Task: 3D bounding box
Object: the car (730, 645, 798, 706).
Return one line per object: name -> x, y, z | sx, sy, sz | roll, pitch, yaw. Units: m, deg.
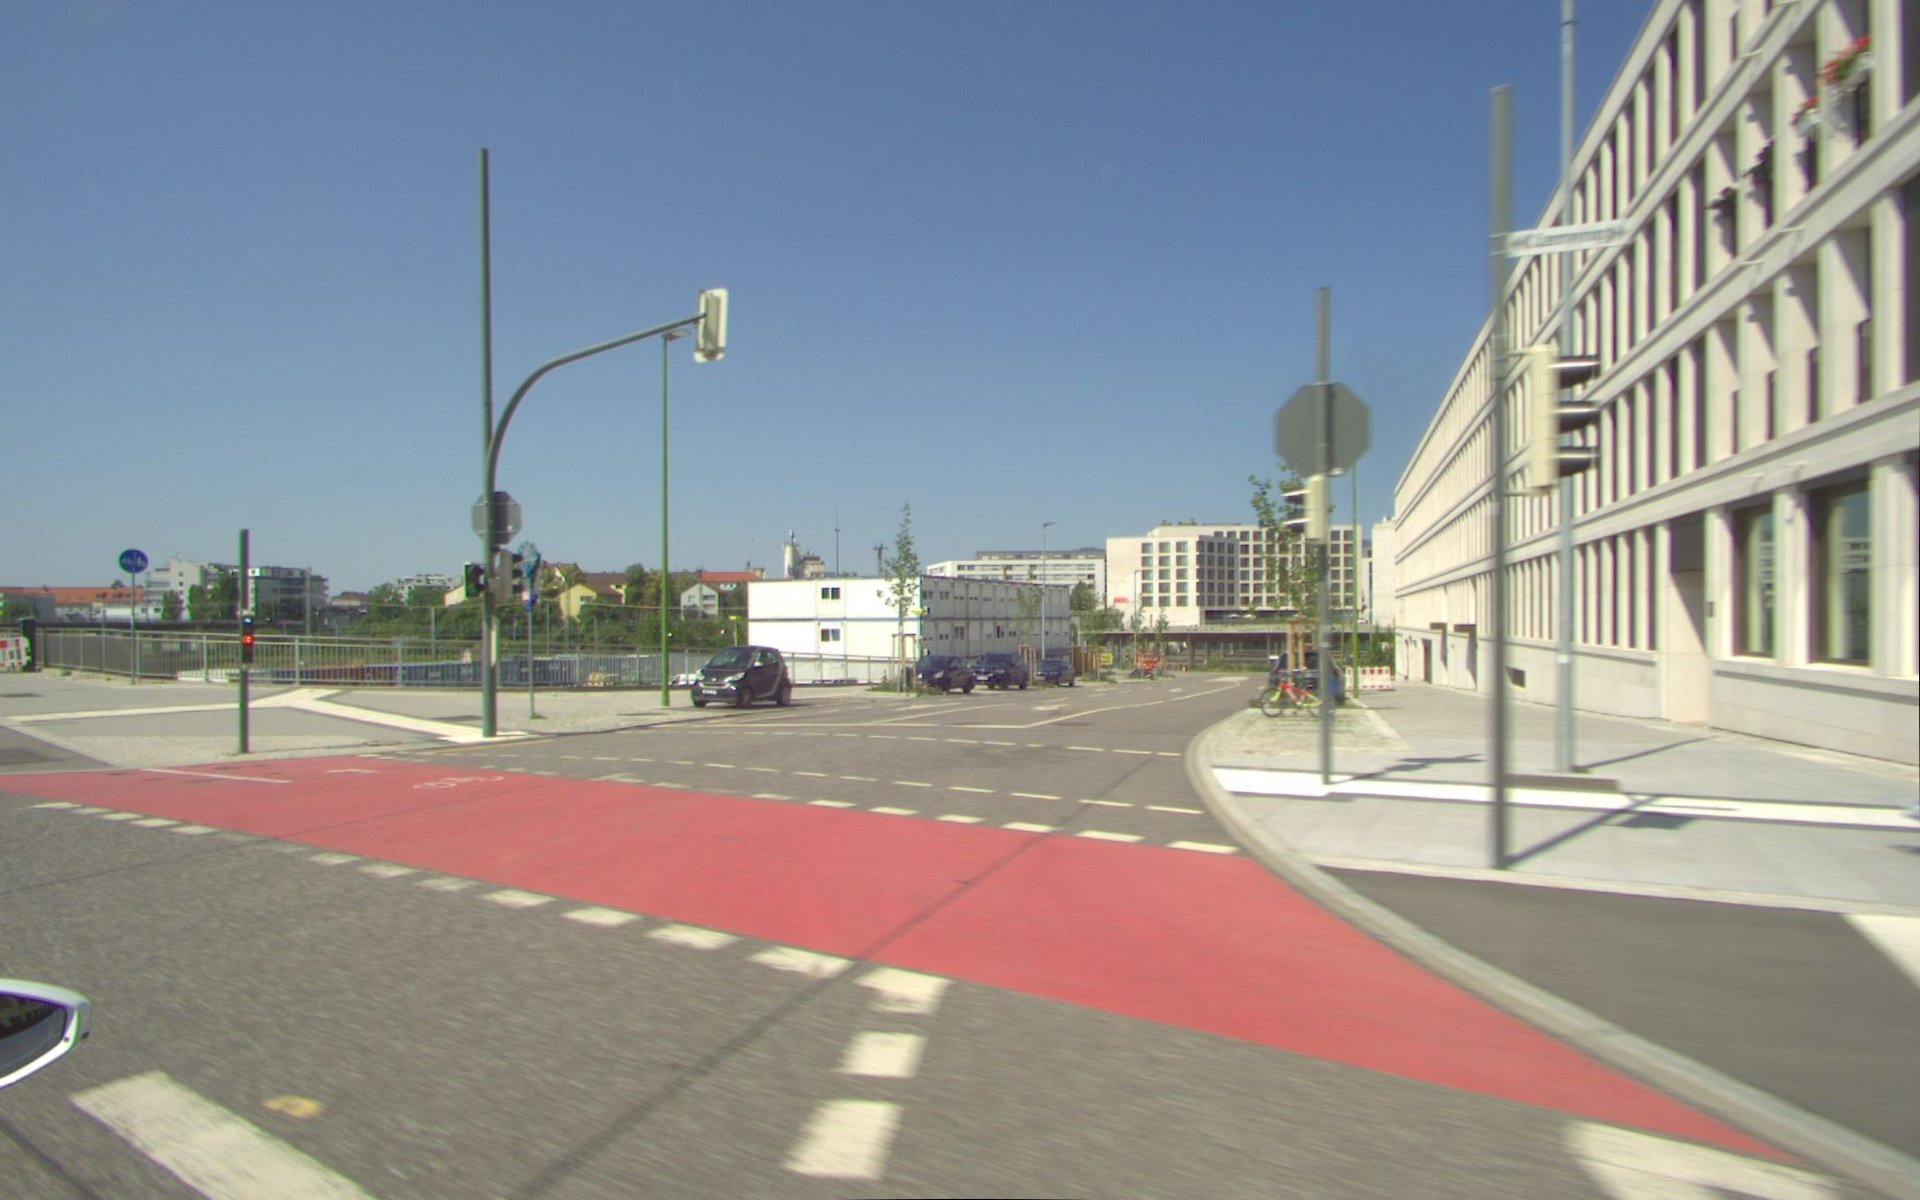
car -> -5.195, 1.961, 26.294 | 1.433, 1.482, 3.365 | 0, -3, -17
